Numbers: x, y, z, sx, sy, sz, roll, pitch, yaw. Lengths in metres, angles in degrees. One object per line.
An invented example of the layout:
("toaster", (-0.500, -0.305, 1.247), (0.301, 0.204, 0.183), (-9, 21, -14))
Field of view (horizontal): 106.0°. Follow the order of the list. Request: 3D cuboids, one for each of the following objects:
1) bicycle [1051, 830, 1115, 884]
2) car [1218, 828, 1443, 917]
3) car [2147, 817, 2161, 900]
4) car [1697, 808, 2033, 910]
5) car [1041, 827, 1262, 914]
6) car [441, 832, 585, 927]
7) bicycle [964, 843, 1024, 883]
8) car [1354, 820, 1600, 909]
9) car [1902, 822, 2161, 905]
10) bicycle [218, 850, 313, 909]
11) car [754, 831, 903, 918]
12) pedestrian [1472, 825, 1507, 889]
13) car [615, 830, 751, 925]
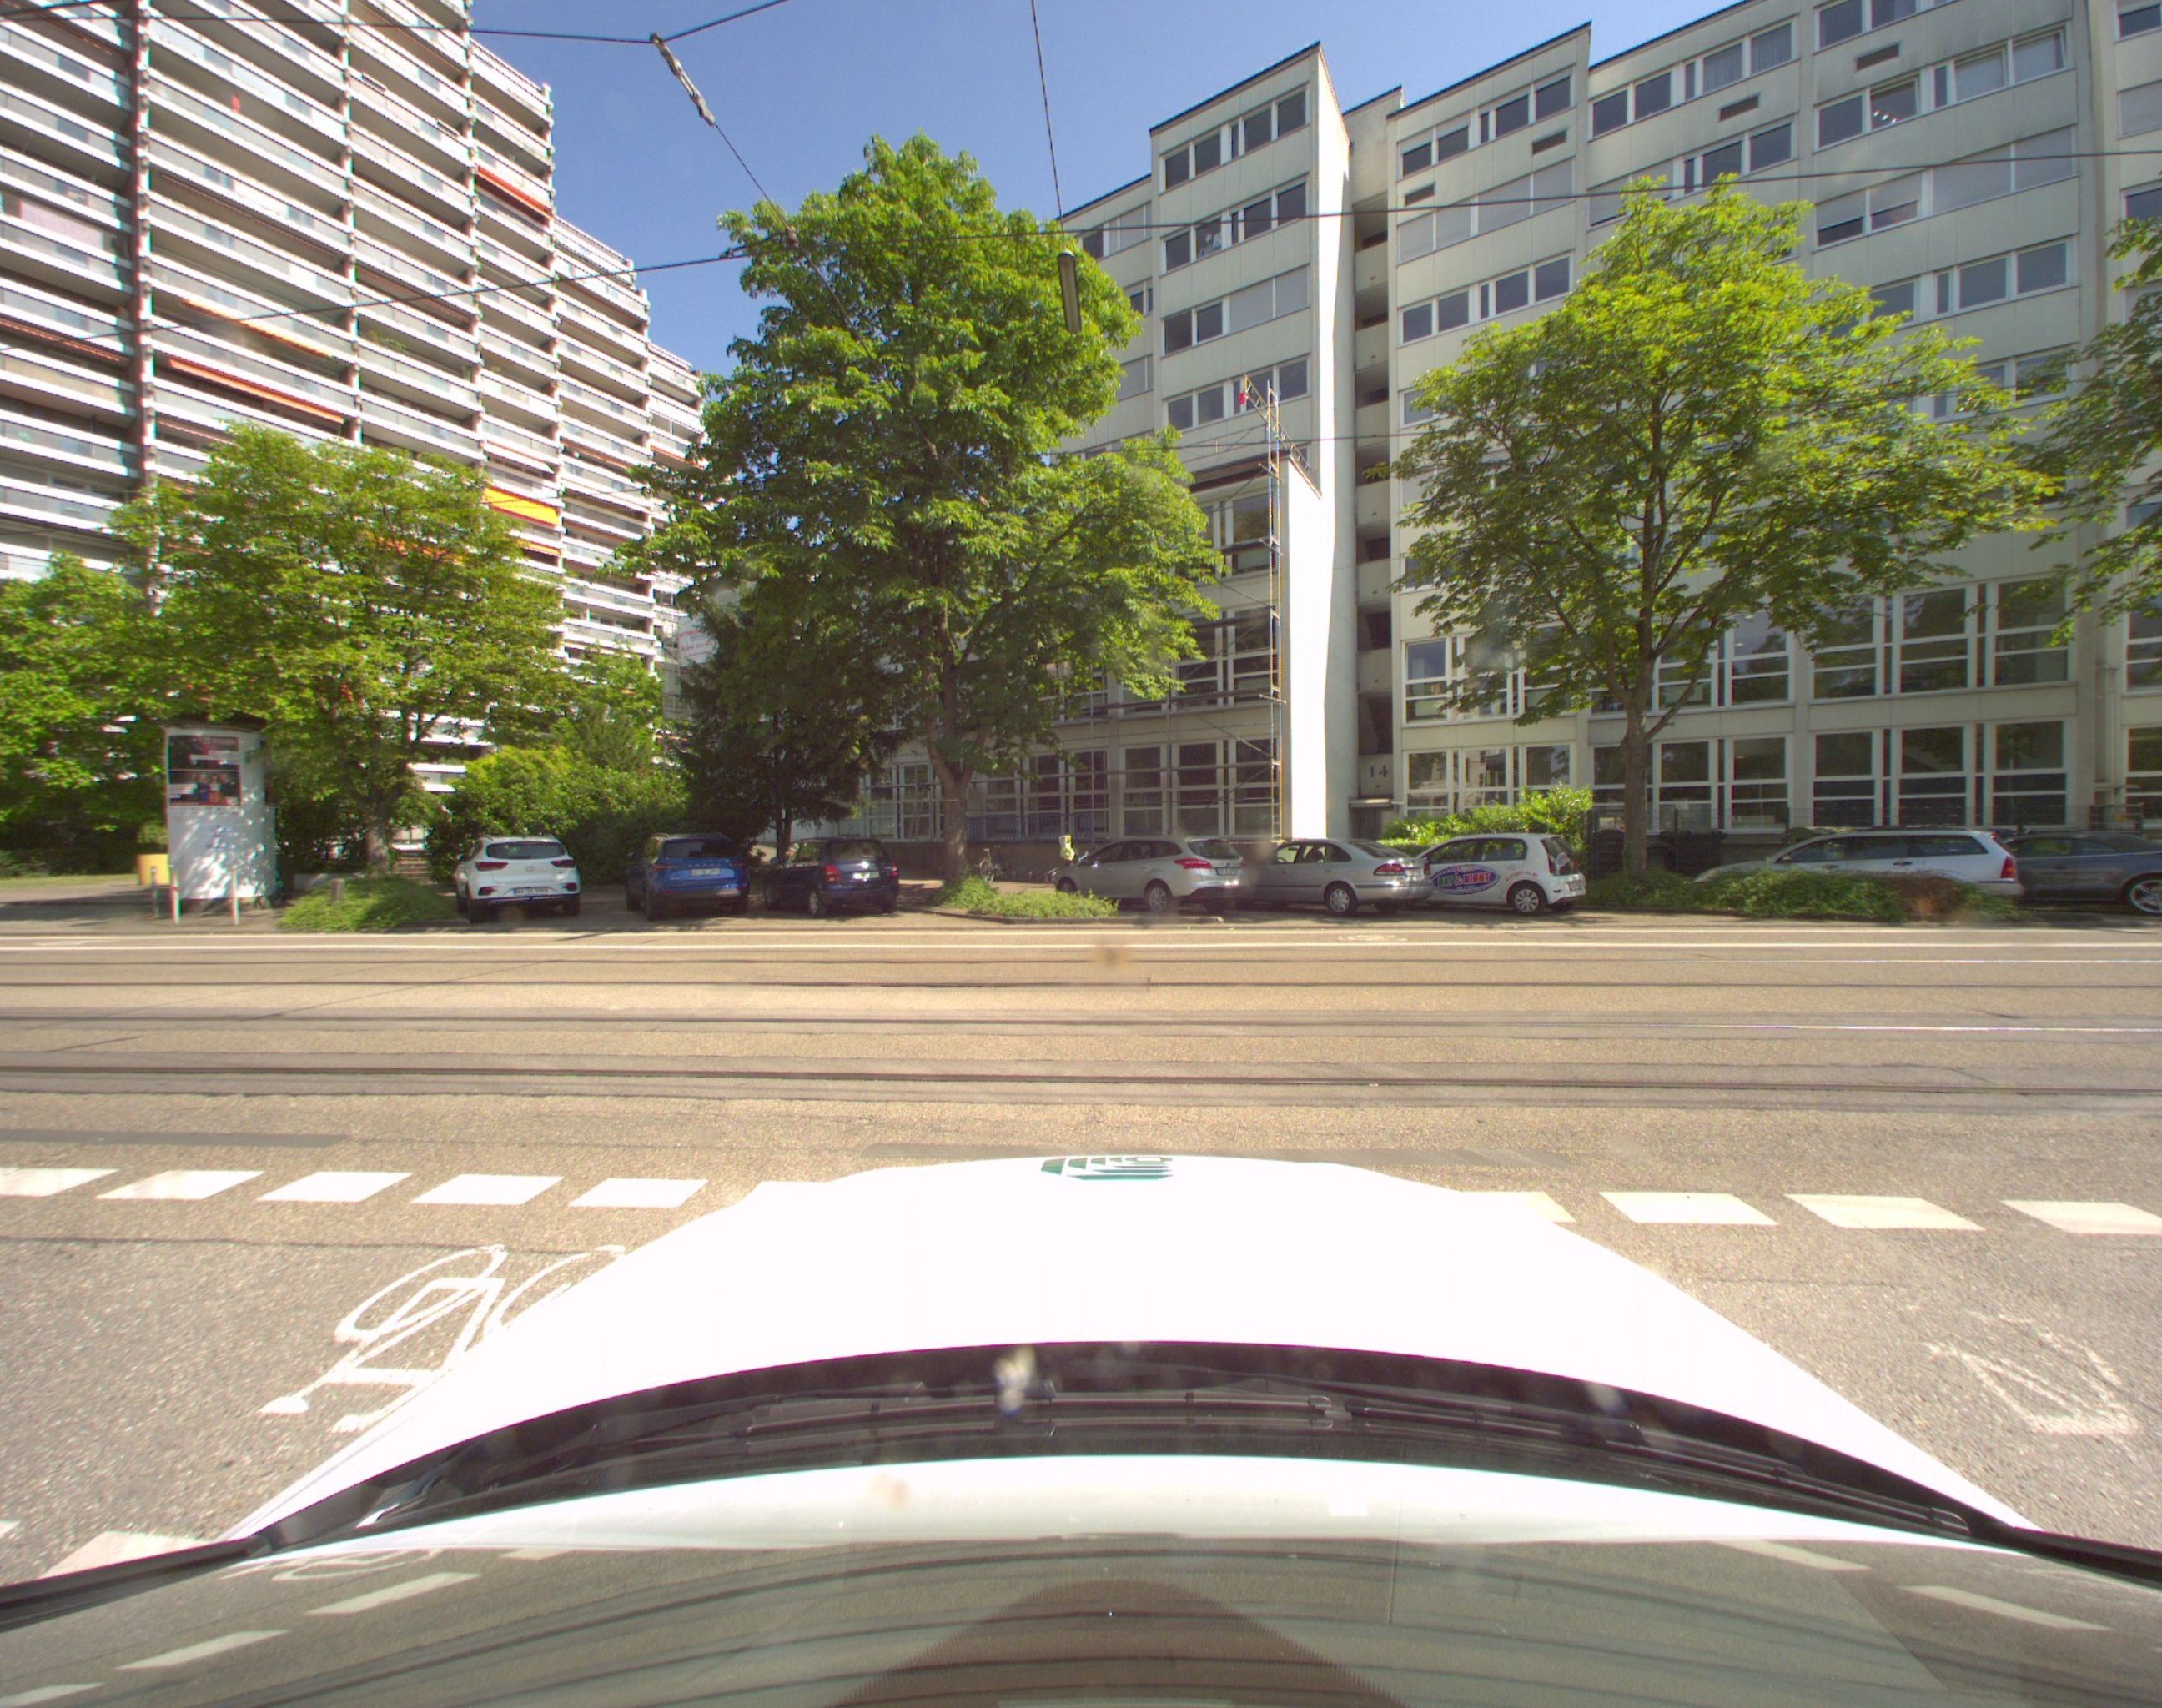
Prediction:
("bicycle", (0.084, 0.061, 22.863), (0.655, 1.453, 2.104), (-1, 1, 36))
("car", (4.662, 0.299, 15.656), (1.621, 1.486, 3.900), (-2, 1, -38))
("car", (21.121, 0.050, 13.622), (1.567, 1.486, 3.899), (-2, 1, -40))
("car", (14.202, 0.086, 15.028), (1.567, 1.604, 4.291), (-1, 0, -43))
("car", (1.256, 0.275, 16.225), (1.794, 1.486, 4.383), (-2, 1, -40))
("car", (-11.590, 0.437, 16.522), (1.830, 1.606, 3.897), (-5, 3, -42))
("bicycle", (-2.535, 0.251, 24.000), (0.734, 1.086, 2.215), (-1, 1, 23))
("car", (7.466, 0.196, 15.653), (1.621, 1.486, 3.899), (-2, 0, -39))
("car", (17.468, 0.139, 14.503), (1.567, 1.357, 3.899), (-2, 1, -40))
("bicycle", (-18.886, 0.573, 18.876), (1.611, 1.308, 0.547), (-1, 0, -1))
("car", (-5.102, 0.348, 16.213), (1.585, 1.531, 3.417), (-2, 1, -40))
("pedestrian", (9.477, 0.072, 18.909), (0.616, 1.460, 0.425), (-1, 0, 10))
("car", (-8.131, 0.358, 16.464), (1.789, 1.622, 3.902), (-3, 3, -36))
